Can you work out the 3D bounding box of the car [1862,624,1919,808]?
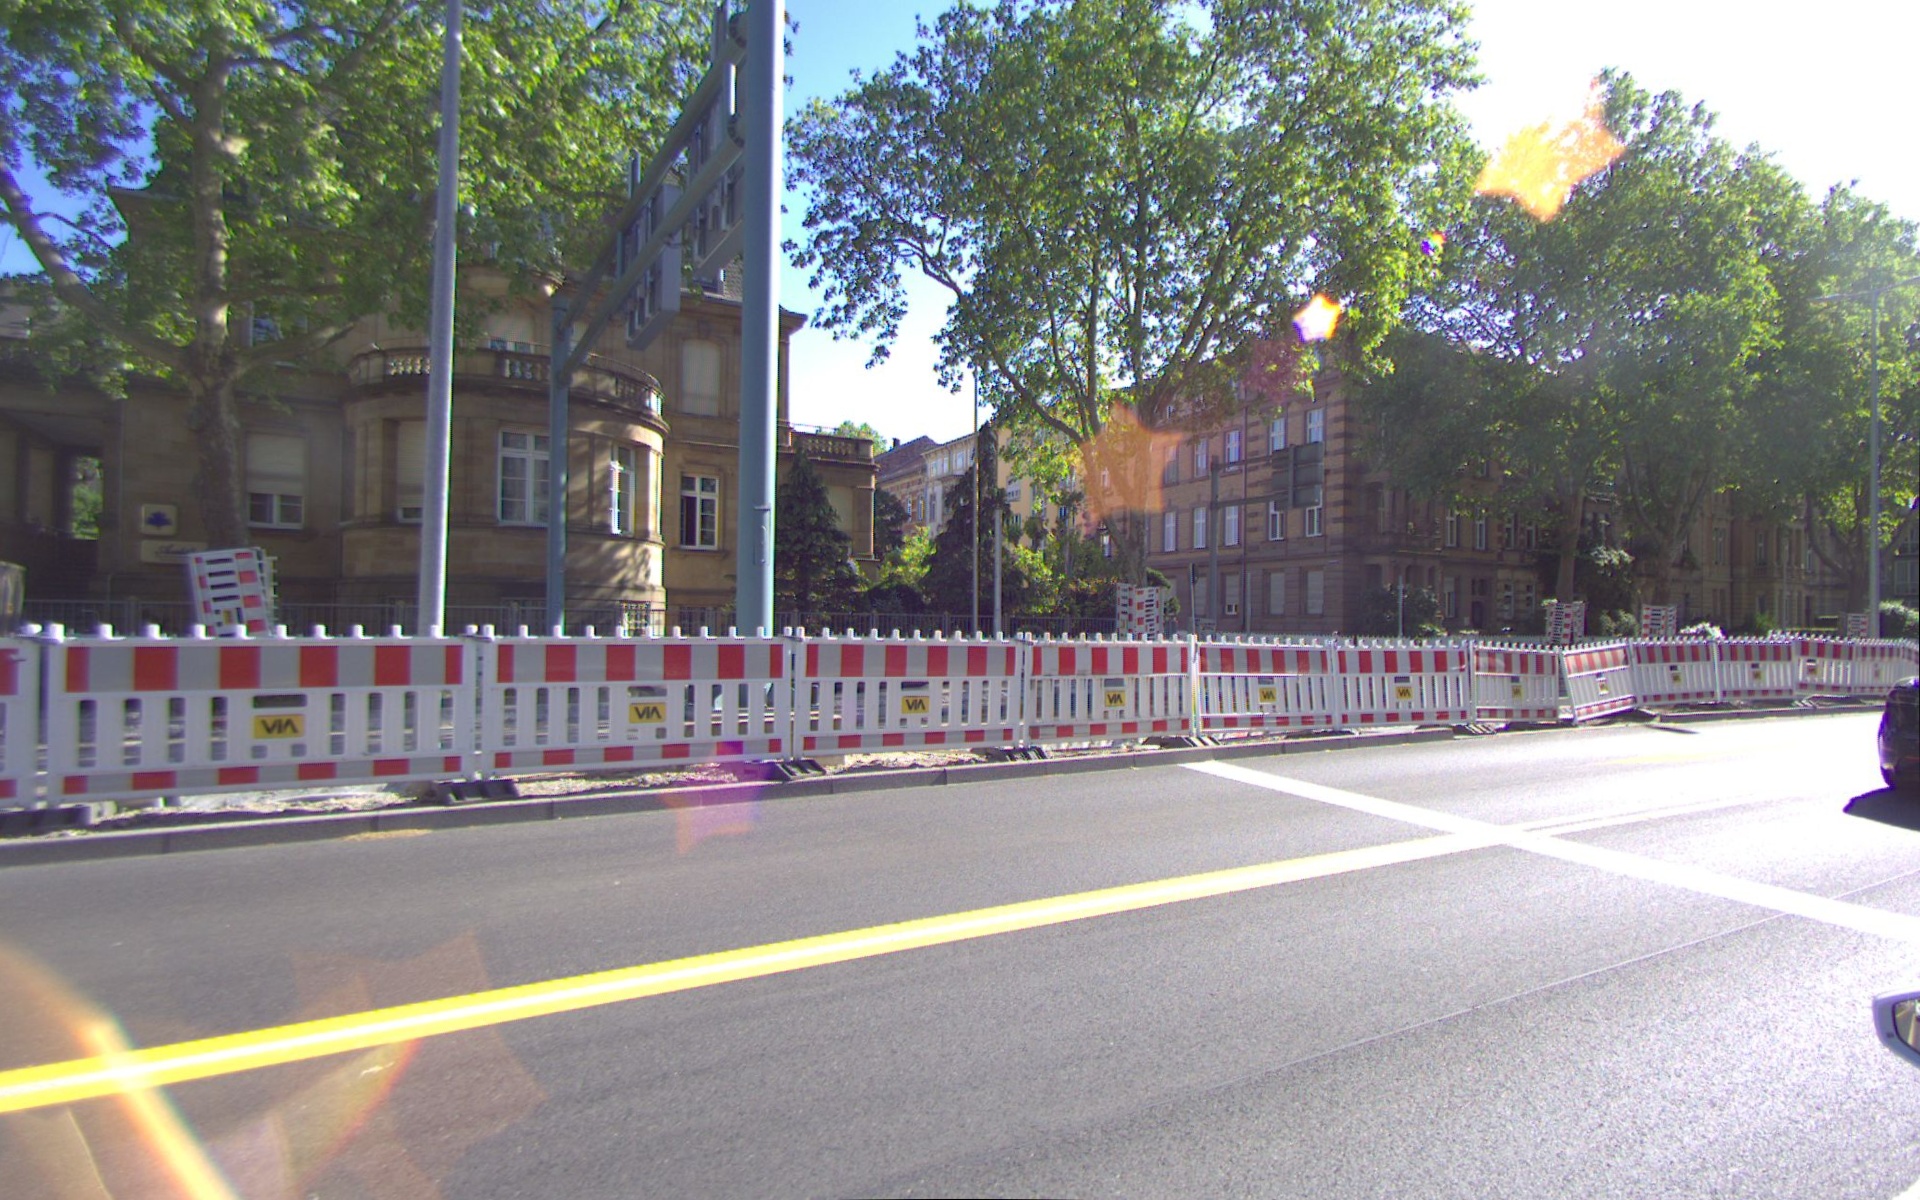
[{"bbox_3d":[10.070,1.011,8.923,4.424,1.503,1.829,2,-1,-31],"label":"car"}]
